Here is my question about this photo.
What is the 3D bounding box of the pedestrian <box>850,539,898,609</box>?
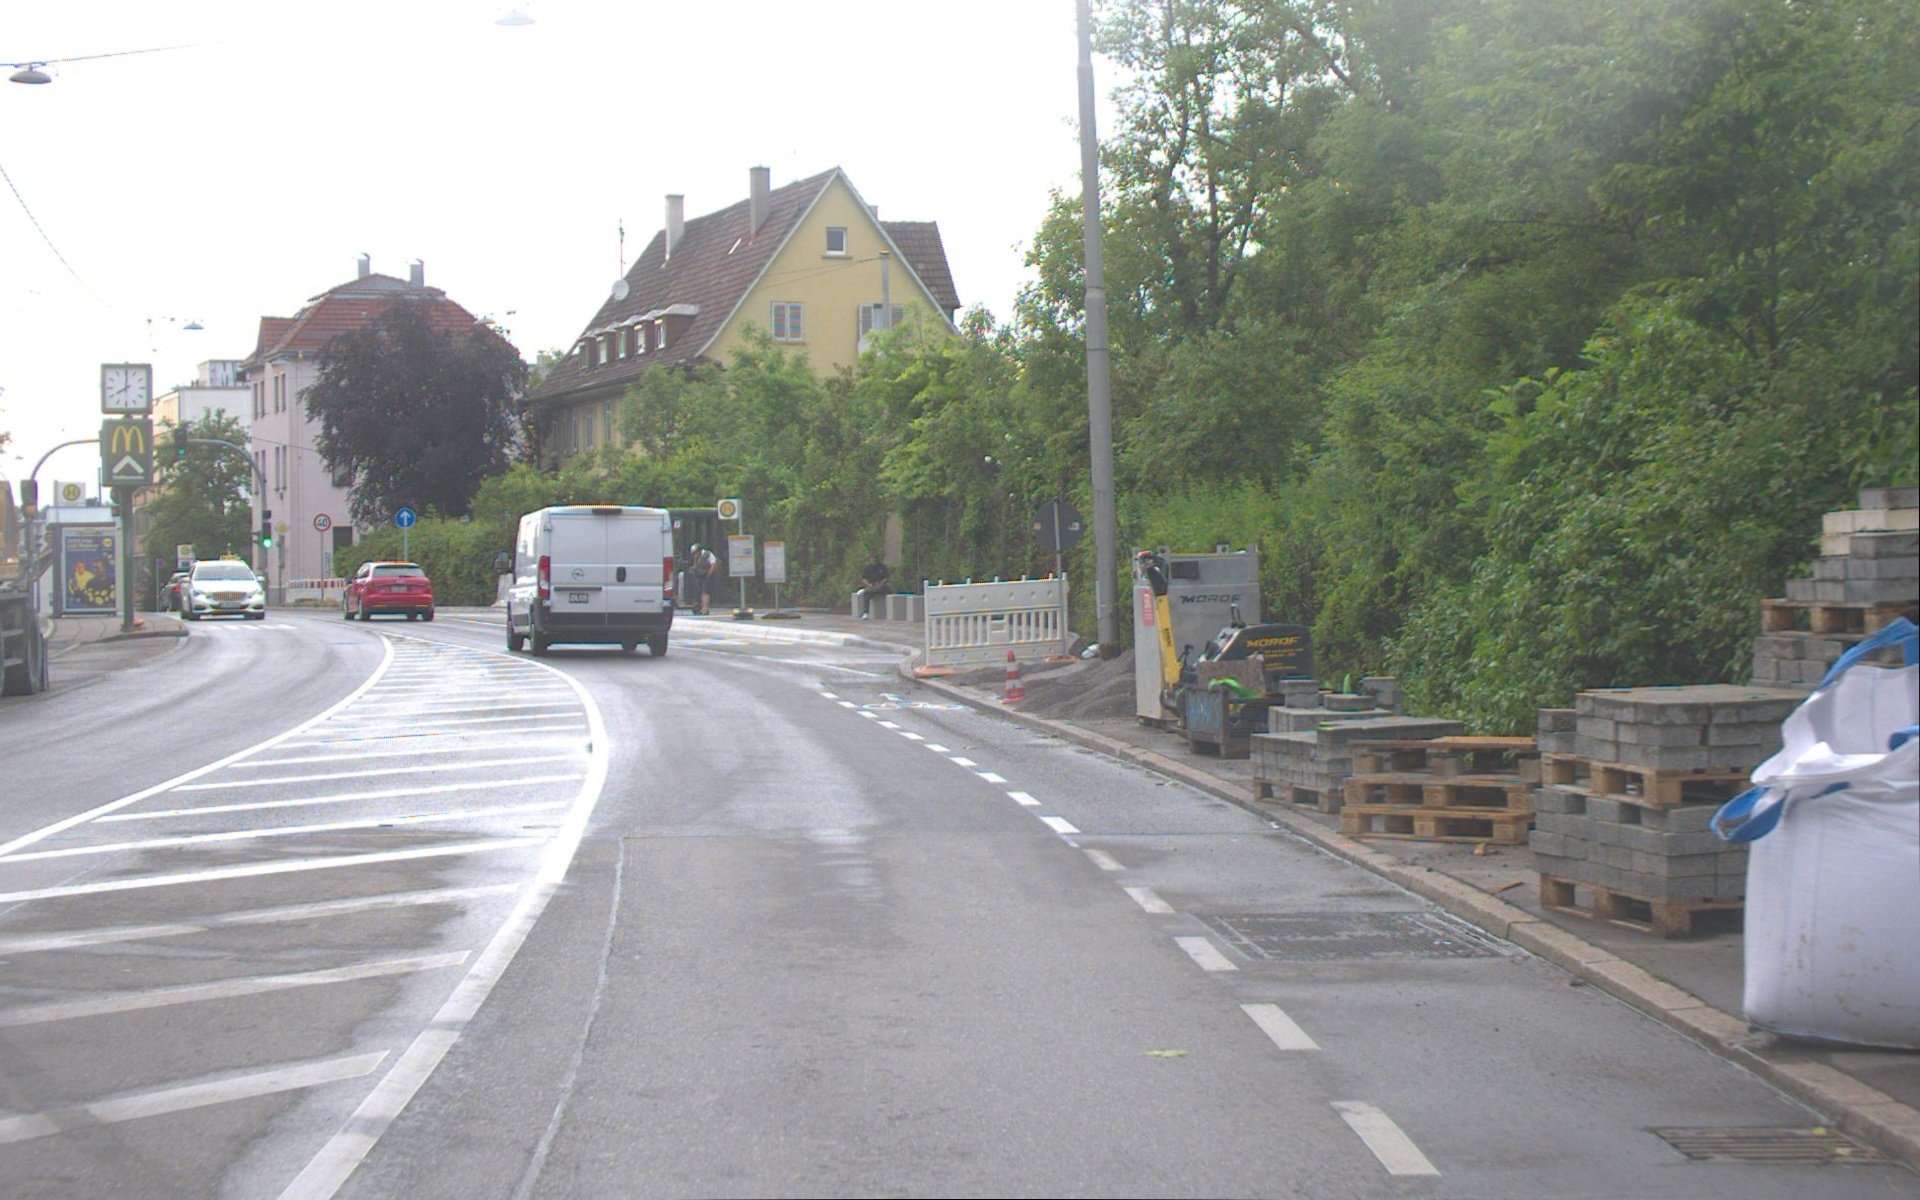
[{"bbox_3d":[-1.746,-0.540,69.746,0.878,1.362,1.066,1,2,-5],"label":"pedestrian"}]

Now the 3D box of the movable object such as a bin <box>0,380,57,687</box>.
[{"bbox_3d":[-11.479,-0.718,36.850,2.871,3.162,4.126,1,1,-6],"label":"movable object such as a bin"}]

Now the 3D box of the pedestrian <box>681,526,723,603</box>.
[{"bbox_3d":[-5.846,-0.809,77.947,0.905,1.725,0.654,1,2,-4],"label":"pedestrian"}]

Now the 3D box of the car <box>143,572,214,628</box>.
[{"bbox_3d":[-27.995,-0.016,123.094,2.237,1.798,4.715,0,3,-16],"label":"car"}]

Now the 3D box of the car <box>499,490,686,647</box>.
[{"bbox_3d":[-5.692,-0.530,52.726,2.237,2.205,4.715,0,3,-13],"label":"car"}]

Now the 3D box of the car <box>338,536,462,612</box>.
[{"bbox_3d":[-13.622,-0.655,83.461,2.237,1.651,4.715,0,3,-18],"label":"car"}]

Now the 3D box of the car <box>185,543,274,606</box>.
[{"bbox_3d":[-18.552,-0.632,87.220,1.928,1.550,4.621,1,0,-15],"label":"car"}]
